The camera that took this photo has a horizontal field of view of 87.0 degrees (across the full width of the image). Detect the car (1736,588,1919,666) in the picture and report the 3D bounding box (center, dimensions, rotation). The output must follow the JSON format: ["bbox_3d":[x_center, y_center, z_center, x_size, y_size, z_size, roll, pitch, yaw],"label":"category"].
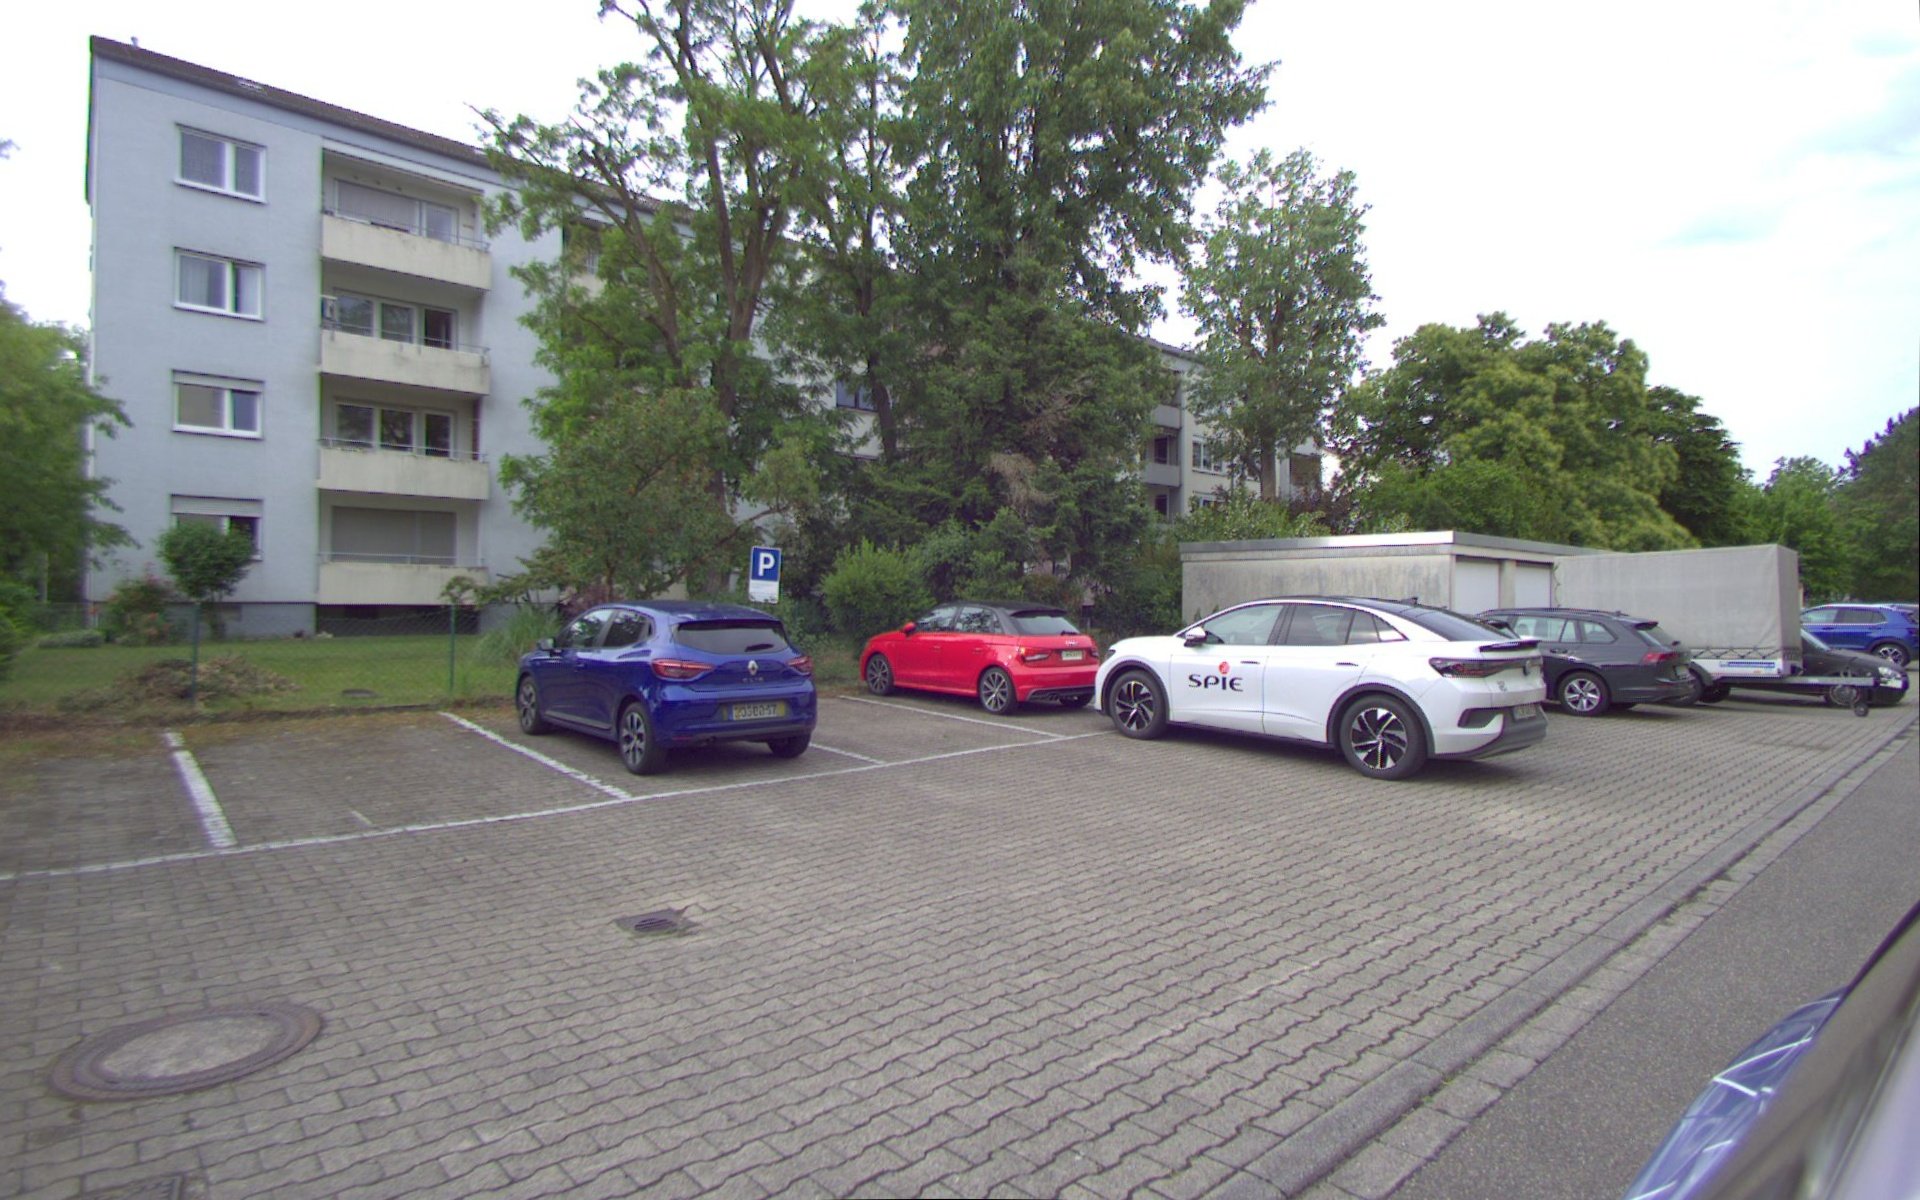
[{"bbox_3d":[22.810,0.654,26.191,1.966,1.724,3.994,1,2,-42],"label":"car"}]

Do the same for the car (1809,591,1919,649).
[{"bbox_3d":[31.224,0.674,33.759,1.966,1.749,4.202,1,2,-42],"label":"car"}]

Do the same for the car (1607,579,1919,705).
[{"bbox_3d":[14.360,0.632,18.078,1.966,1.824,4.318,1,2,-42],"label":"car"}]

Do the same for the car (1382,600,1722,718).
[{"bbox_3d":[8.735,0.773,15.214,1.584,1.467,4.134,1,0,-42],"label":"car"}]

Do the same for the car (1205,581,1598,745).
[{"bbox_3d":[5.304,0.625,12.556,1.965,1.571,3.996,1,2,-40],"label":"car"}]

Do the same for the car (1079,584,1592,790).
[{"bbox_3d":[3.544,0.665,10.318,1.952,1.609,4.546,1,0,-40],"label":"car"}]

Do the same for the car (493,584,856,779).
[{"bbox_3d":[-2.994,0.629,10.113,1.992,1.530,3.903,1,0,-42],"label":"car"}]

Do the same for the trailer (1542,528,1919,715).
[{"bbox_3d":[12.185,0.294,16.221,1.909,2.557,4.616,1,-1,-41],"label":"trailer"}]

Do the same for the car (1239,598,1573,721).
[{"bbox_3d":[6.275,0.730,14.597,1.880,1.467,4.005,1,0,-39],"label":"car"}]

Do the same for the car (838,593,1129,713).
[{"bbox_3d":[0.216,0.626,14.155,1.937,1.398,3.903,1,0,-42],"label":"car"}]

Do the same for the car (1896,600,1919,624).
[{"bbox_3d":[63.542,0.800,65.609,1.757,1.503,4.099,0,2,-43],"label":"car"}]
